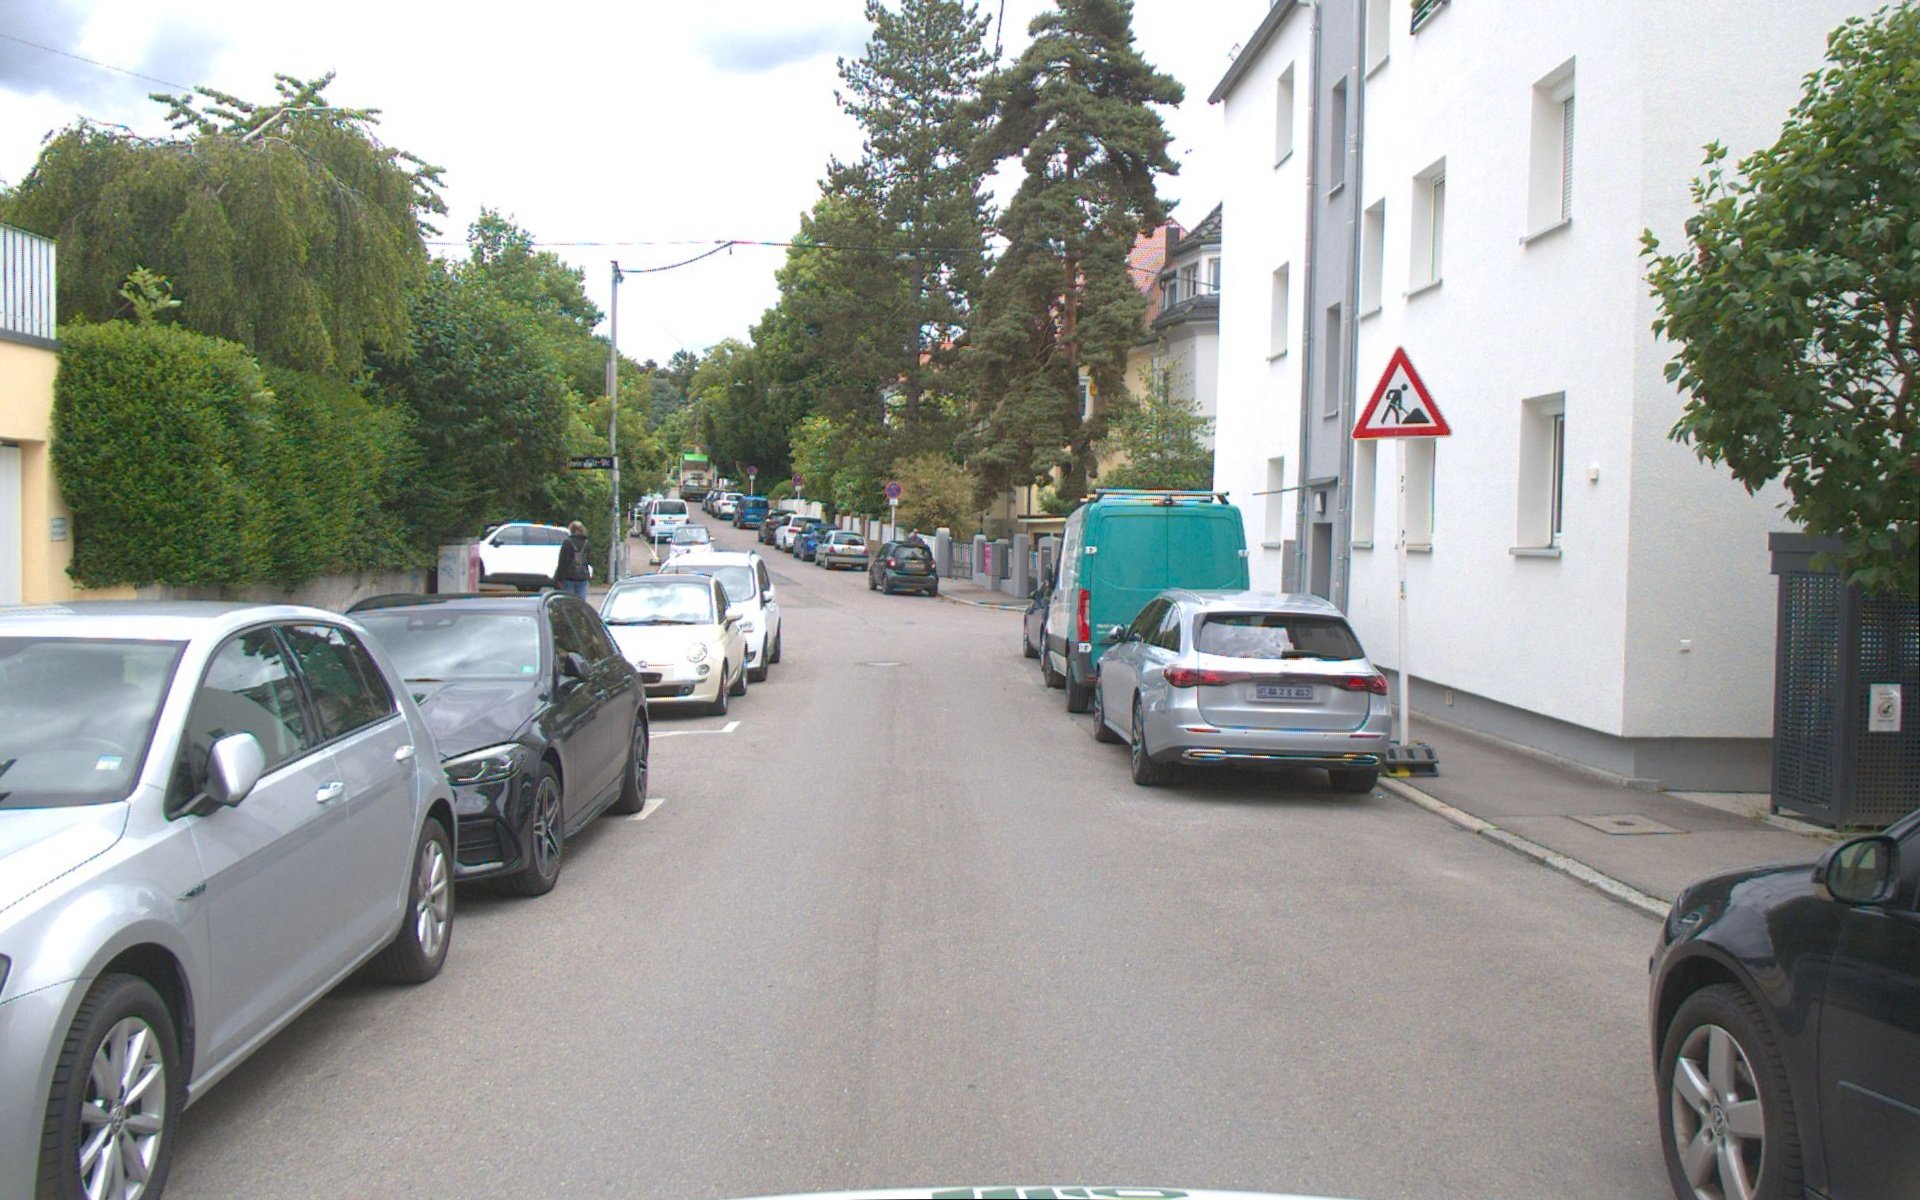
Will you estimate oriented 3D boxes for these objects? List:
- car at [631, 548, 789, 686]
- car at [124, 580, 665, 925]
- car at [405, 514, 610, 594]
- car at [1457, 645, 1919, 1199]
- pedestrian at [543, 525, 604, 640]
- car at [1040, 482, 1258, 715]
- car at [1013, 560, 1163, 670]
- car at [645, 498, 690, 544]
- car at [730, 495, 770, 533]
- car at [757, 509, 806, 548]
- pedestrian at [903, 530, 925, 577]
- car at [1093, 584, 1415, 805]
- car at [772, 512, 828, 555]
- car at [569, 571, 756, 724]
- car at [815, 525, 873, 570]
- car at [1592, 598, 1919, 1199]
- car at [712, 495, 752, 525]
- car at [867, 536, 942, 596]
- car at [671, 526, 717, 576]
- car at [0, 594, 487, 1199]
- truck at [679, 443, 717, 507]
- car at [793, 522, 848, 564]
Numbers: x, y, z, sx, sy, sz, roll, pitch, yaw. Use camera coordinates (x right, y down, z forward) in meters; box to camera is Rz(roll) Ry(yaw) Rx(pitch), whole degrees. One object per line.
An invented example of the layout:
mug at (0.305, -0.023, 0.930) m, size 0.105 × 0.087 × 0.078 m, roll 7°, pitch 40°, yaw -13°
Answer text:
car at (-3.427, 0.159, 23.356) m, size 1.768 × 1.688 × 4.150 m, roll 0°, pitch 3°, yaw -3°
car at (-2.897, 0.655, 9.517) m, size 1.766 × 1.506 × 4.327 m, roll 0°, pitch 1°, yaw -2°
car at (-10.775, -1.083, 39.655) m, size 1.801 × 1.684 × 4.491 m, roll 5°, pitch 3°, yaw 40°
car at (2.601, 1.131, 3.295) m, size 1.741 × 1.750 × 3.998 m, roll 1°, pitch 3°, yaw -4°
pedestrian at (-6.249, -0.288, 26.758) m, size 0.804 × 1.790 × 0.644 m, roll 3°, pitch 2°, yaw -4°
car at (2.144, -0.065, 20.315) m, size 1.953 × 2.464 × 5.292 m, roll 0°, pitch 1°, yaw -1°
car at (1.951, 0.177, 26.511) m, size 1.782 × 1.511 × 4.284 m, roll 1°, pitch 2°, yaw -4°
car at (-13.693, -3.727, 77.280) m, size 1.823 × 1.945 × 4.606 m, roll -2°, pitch 5°, yaw -13°
car at (-11.751, -4.831, 92.455) m, size 1.654 × 1.860 × 4.144 m, roll 2°, pitch 5°, yaw -14°
car at (-8.485, -3.396, 78.379) m, size 1.720 × 1.635 × 4.063 m, roll 3°, pitch 4°, yaw -14°
pedestrian at (-1.613, -1.638, 58.001) m, size 0.668 × 1.604 × 0.905 m, roll -2°, pitch 2°, yaw -7°
car at (2.242, 0.645, 13.801) m, size 1.787 × 1.470 × 4.382 m, roll 2°, pitch 1°, yaw -1°
car at (-7.067, -2.958, 72.693) m, size 1.755 × 1.630 × 4.290 m, roll 2°, pitch 4°, yaw -15°
car at (-3.290, 0.459, 18.889) m, size 1.575 × 1.478 × 3.613 m, roll -2°, pitch 2°, yaw -2°
car at (-4.365, -1.975, 61.871) m, size 1.547 × 1.424 × 3.645 m, roll 2°, pitch 4°, yaw -13°
car at (2.687, 0.802, 2.729) m, size 1.573 × 1.515 × 4.021 m, roll 2°, pitch 1°, yaw -2°
car at (-14.181, -5.625, 102.827) m, size 1.729 × 1.633 × 4.557 m, roll 1°, pitch 5°, yaw -17°
car at (-1.708, -1.051, 49.825) m, size 1.546 × 1.557 × 2.857 m, roll 3°, pitch 4°, yaw -16°
car at (-9.399, -1.745, 58.553) m, size 1.415 × 1.578 × 2.767 m, roll -2°, pitch 5°, yaw -6°
car at (-2.703, 0.730, 4.813) m, size 1.606 × 1.453 × 4.121 m, roll -1°, pitch 0°, yaw -2°
truck at (-21.054, -10.048, 132.613) m, size 2.481 × 4.828 × 7.168 m, roll 2°, pitch 4°, yaw -13°
car at (-5.666, -2.338, 66.693) m, size 1.619 × 1.483 × 4.040 m, roll 2°, pitch 3°, yaw -13°
